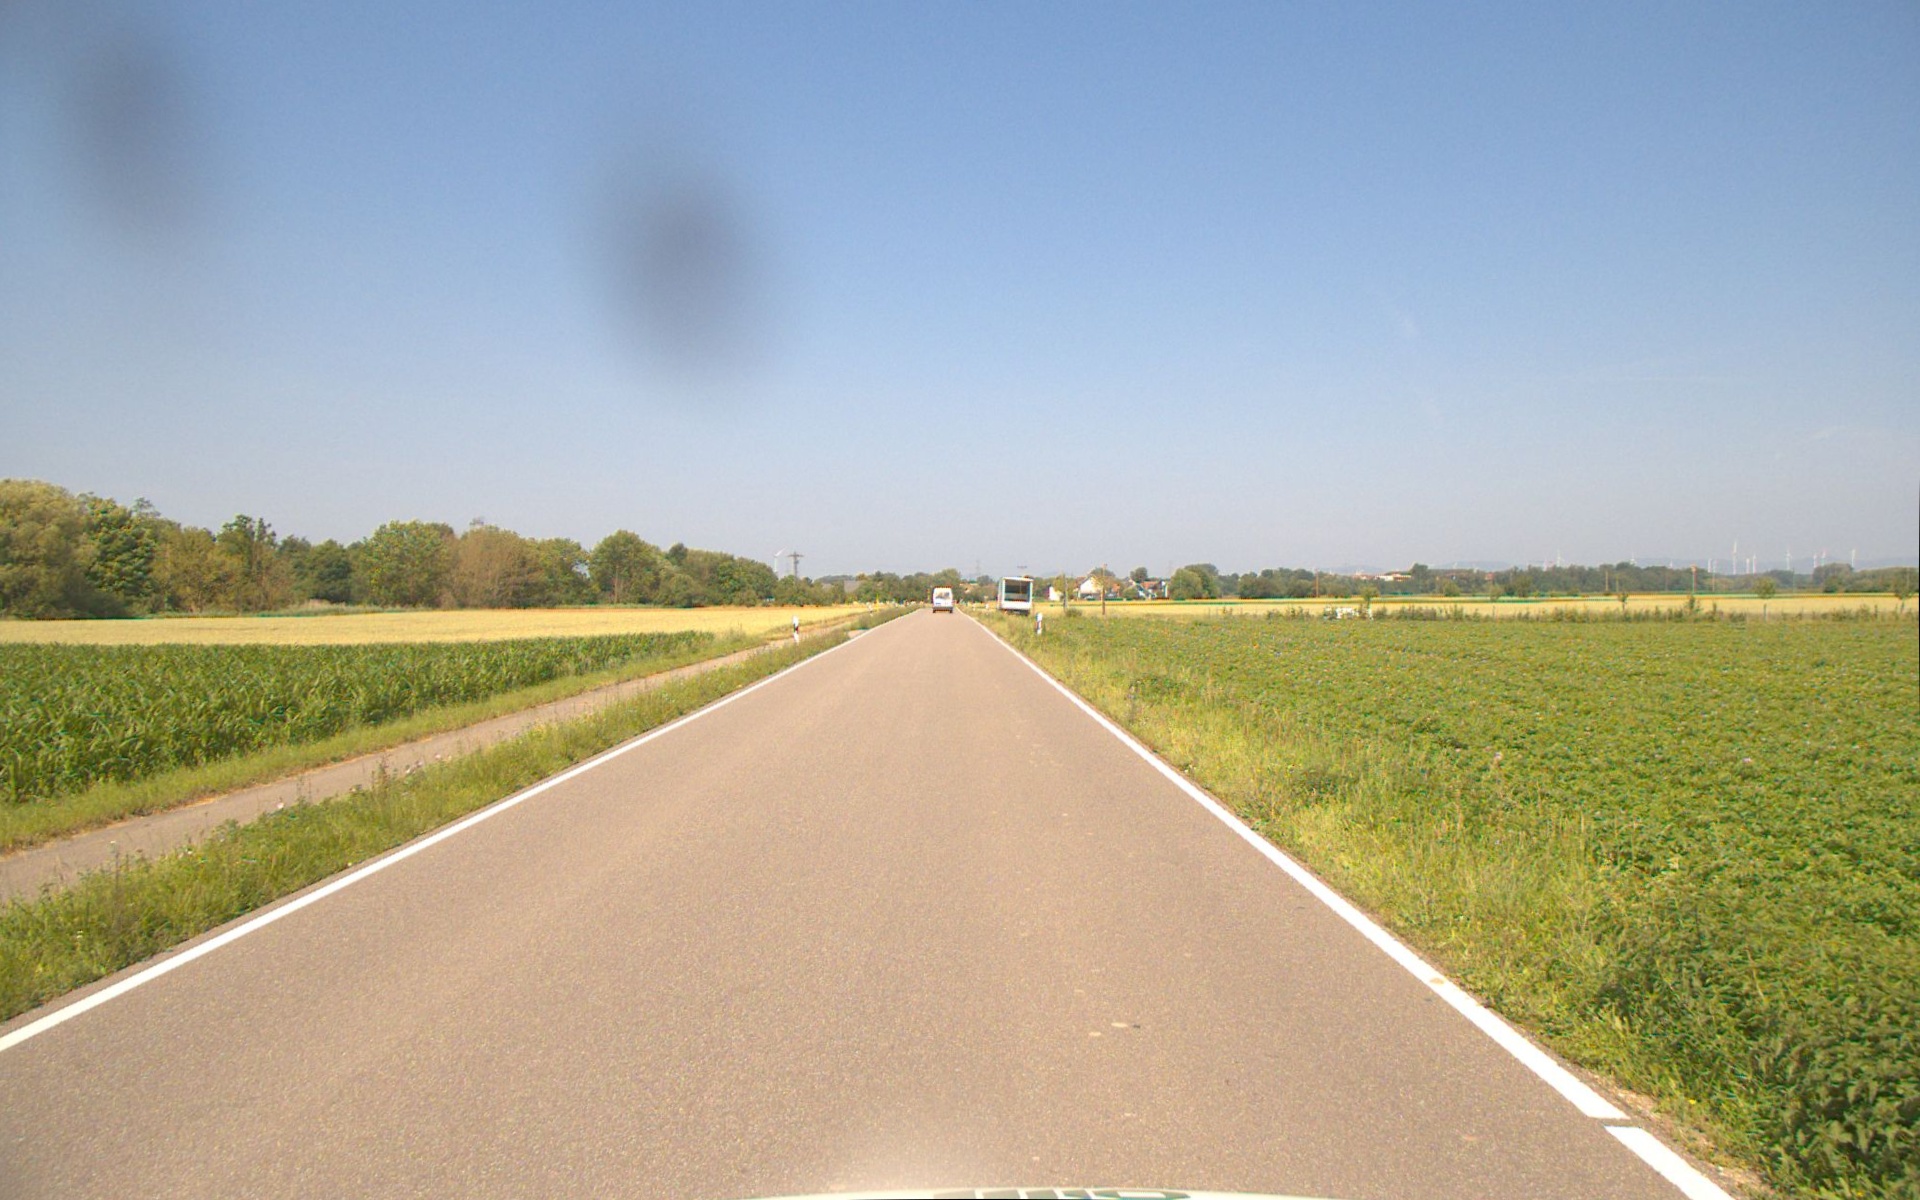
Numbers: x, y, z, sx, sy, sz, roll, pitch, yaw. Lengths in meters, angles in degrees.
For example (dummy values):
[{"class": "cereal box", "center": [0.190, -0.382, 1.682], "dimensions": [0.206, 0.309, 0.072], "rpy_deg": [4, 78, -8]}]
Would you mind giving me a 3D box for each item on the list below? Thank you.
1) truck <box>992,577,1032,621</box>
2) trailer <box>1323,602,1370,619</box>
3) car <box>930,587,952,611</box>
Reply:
[{"class": "truck", "center": [3.685, -0.055, 118.400], "dimensions": [2.289, 2.994, 7.005], "rpy_deg": [2, 0, -3]}, {"class": "trailer", "center": [30.195, 0.817, 129.319], "dimensions": [3.508, 1.210, 1.665], "rpy_deg": [1, 0, 11]}, {"class": "car", "center": [-1.923, -0.098, 167.536], "dimensions": [2.064, 2.344, 5.494], "rpy_deg": [1, 0, -1]}]
